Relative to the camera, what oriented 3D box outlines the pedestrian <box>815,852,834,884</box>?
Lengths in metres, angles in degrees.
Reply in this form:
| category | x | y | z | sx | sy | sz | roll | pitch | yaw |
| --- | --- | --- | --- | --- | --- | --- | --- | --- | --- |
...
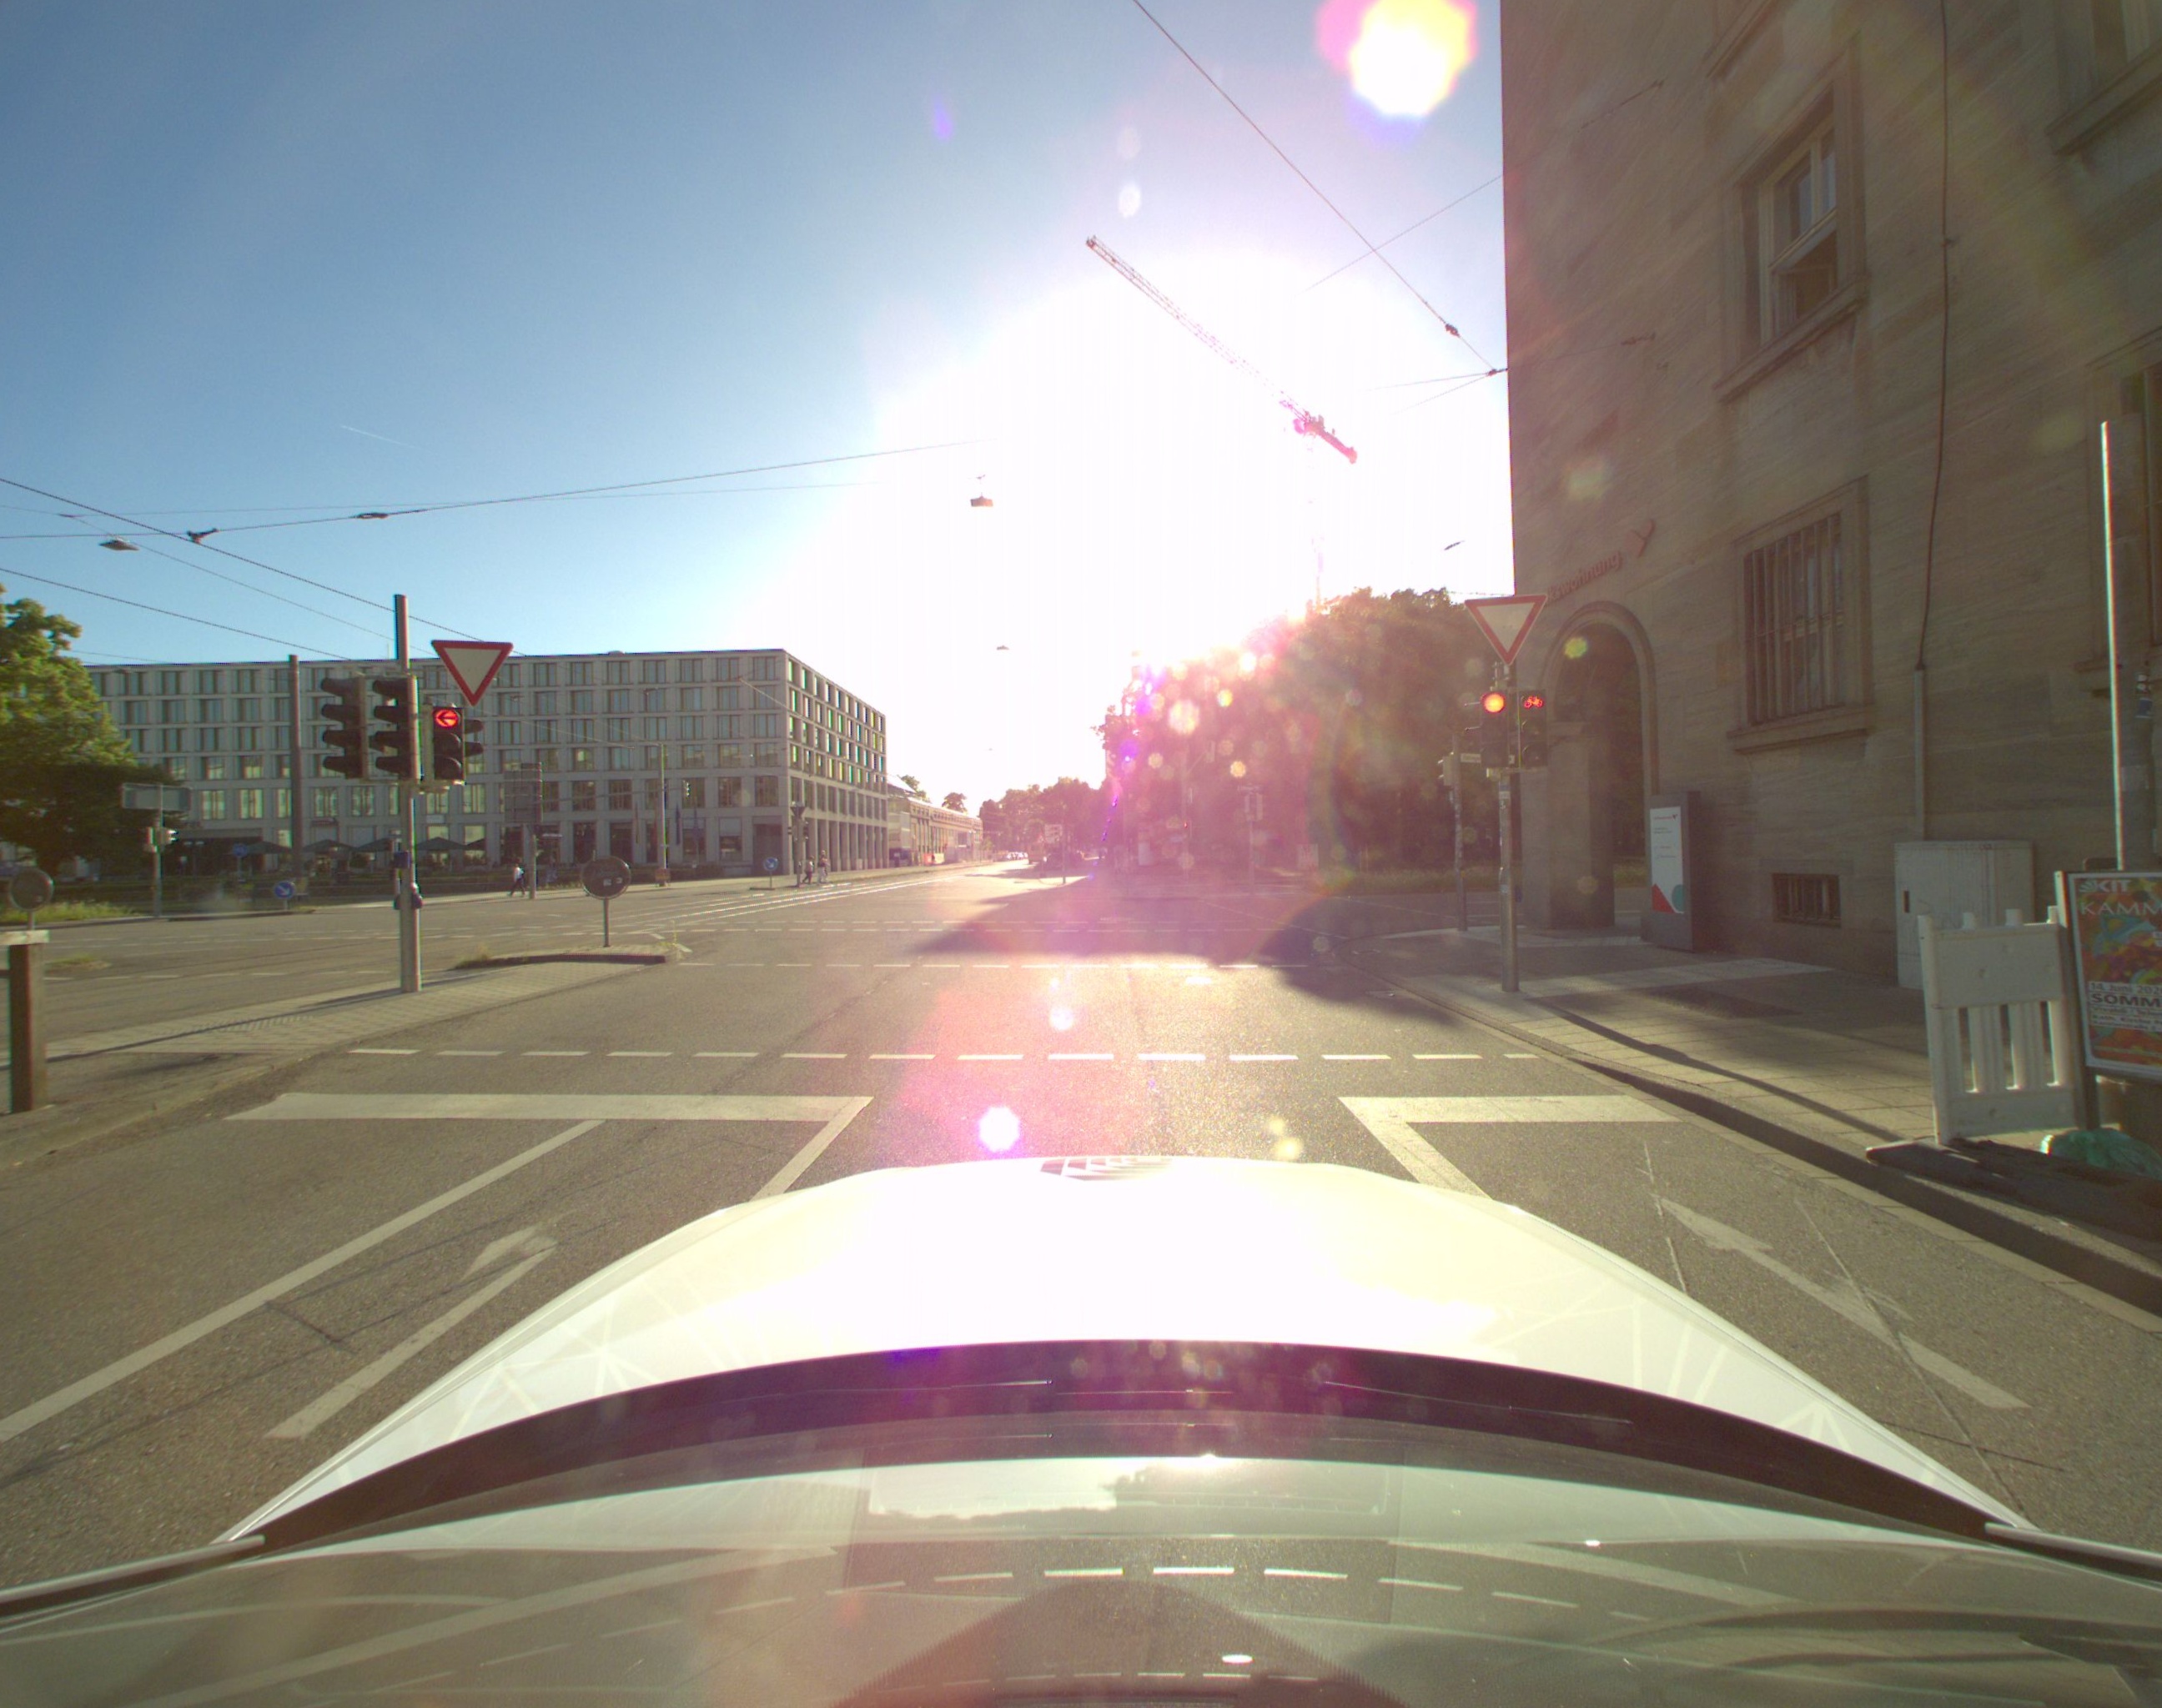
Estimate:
| category | x | y | z | sx | sy | sz | roll | pitch | yaw |
| --- | --- | --- | --- | --- | --- | --- | --- | --- | --- |
| pedestrian | -13.680 | 0.750 | 43.385 | 0.790 | 1.644 | 0.621 | -2 | 0 | -3 |

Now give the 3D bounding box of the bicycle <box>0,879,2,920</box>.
| category | x | y | z | sx | sy | sz | roll | pitch | yaw |
| --- | --- | --- | --- | --- | --- | --- | --- | --- | --- |
| bicycle | -47.028 | 1.962 | 34.357 | 1.897 | 1.735 | 0.595 | -2 | 0 | -11 |

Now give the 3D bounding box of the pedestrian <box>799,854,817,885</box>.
| category | x | y | z | sx | sy | sz | roll | pitch | yaw |
| --- | --- | --- | --- | --- | --- | --- | --- | --- | --- |
| pedestrian | -14.939 | 0.833 | 44.522 | 0.691 | 1.644 | 0.622 | -2 | 0 | 2 |

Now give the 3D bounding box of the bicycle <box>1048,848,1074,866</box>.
| category | x | y | z | sx | sy | sz | roll | pitch | yaw |
| --- | --- | --- | --- | --- | --- | --- | --- | --- | --- |
| bicycle | -2.007 | 0.301 | 81.667 | 2.538 | 1.744 | 1.038 | 0 | -1 | 1 |

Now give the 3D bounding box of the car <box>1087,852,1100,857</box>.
| category | x | y | z | sx | sy | sz | roll | pitch | yaw |
| --- | --- | --- | --- | --- | --- | --- | --- | --- | --- |
| car | 3.261 | 0.066 | 211.377 | 3.207 | 1.263 | 1.373 | 0 | -1 | 0 |

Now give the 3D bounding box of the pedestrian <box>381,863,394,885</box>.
| category | x | y | z | sx | sy | sz | roll | pitch | yaw |
| --- | --- | --- | --- | --- | --- | --- | --- | --- | --- |
| pedestrian | -51.793 | 1.492 | 60.824 | 0.538 | 1.669 | 0.561 | 0 | -1 | -2 |

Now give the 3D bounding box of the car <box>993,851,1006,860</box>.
| category | x | y | z | sx | sy | sz | roll | pitch | yaw |
| --- | --- | --- | --- | --- | --- | --- | --- | --- | --- |
| car | -15.682 | 0.278 | 156.927 | 1.888 | 1.607 | 4.499 | -2 | 0 | 0 |

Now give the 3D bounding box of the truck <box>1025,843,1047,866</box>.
| category | x | y | z | sx | sy | sz | roll | pitch | yaw |
| --- | --- | --- | --- | --- | --- | --- | --- | --- | --- |
| truck | -6.203 | 0.054 | 113.321 | 2.709 | 3.016 | 6.486 | -1 | 0 | -1 |

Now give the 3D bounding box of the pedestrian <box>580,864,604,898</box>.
| category | x | y | z | sx | sy | sz | roll | pitch | yaw |
| --- | --- | --- | --- | --- | --- | --- | --- | --- | --- |
| pedestrian | -26.723 | 1.474 | 44.512 | 0.865 | 1.803 | 0.665 | -2 | 0 | 7 |

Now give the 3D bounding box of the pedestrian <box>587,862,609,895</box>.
| category | x | y | z | sx | sy | sz | roll | pitch | yaw |
| --- | --- | --- | --- | --- | --- | --- | --- | --- | --- |
| pedestrian | -27.190 | 1.380 | 45.846 | 0.735 | 1.803 | 0.717 | -2 | 0 | 7 |

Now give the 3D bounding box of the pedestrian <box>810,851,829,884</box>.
| category | x | y | z | sx | sy | sz | roll | pitch | yaw |
| --- | --- | --- | --- | --- | --- | --- | --- | --- | --- |
| pedestrian | -14.548 | 0.745 | 45.328 | 0.744 | 1.761 | 0.679 | -2 | -1 | 6 |

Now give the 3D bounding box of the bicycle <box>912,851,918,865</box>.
| category | x | y | z | sx | sy | sz | roll | pitch | yaw |
| --- | --- | --- | --- | --- | --- | --- | --- | --- | --- |
| bicycle | -26.696 | 0.633 | 131.088 | 0.569 | 2.296 | 1.422 | -2 | 0 | 0 |

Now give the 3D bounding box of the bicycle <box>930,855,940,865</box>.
| category | x | y | z | sx | sy | sz | roll | pitch | yaw |
| --- | --- | --- | --- | --- | --- | --- | --- | --- | --- |
| bicycle | -20.576 | 0.849 | 114.699 | 0.687 | 1.511 | 2.945 | 0 | -1 | 2 |

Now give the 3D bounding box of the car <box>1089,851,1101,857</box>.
| category | x | y | z | sx | sy | sz | roll | pitch | yaw |
| --- | --- | --- | --- | --- | --- | --- | --- | --- | --- |
| car | 3.680 | -0.079 | 213.635 | 3.207 | 1.588 | 1.445 | 0 | -1 | -3 |

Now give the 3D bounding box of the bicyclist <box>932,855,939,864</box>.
| category | x | y | z | sx | sy | sz | roll | pitch | yaw |
| --- | --- | --- | --- | --- | --- | --- | --- | --- | --- |
| bicyclist | -20.526 | 0.754 | 114.769 | 0.687 | 1.328 | 1.000 | 0 | -1 | 2 |

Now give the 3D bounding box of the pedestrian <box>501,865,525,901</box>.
| category | x | y | z | sx | sy | sz | roll | pitch | yaw |
| --- | --- | --- | --- | --- | --- | --- | --- | --- | --- |
| pedestrian | -30.893 | 1.549 | 44.275 | 0.797 | 1.918 | 0.638 | -2 | 0 | 7 |

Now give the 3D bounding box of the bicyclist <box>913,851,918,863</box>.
| category | x | y | z | sx | sy | sz | roll | pitch | yaw |
| --- | --- | --- | --- | --- | --- | --- | --- | --- | --- |
| bicyclist | -26.695 | 0.498 | 131.081 | 0.569 | 2.024 | 0.762 | -2 | 0 | 0 |

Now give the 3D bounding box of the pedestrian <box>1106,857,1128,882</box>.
| category | x | y | z | sx | sy | sz | roll | pitch | yaw |
| --- | --- | --- | --- | --- | --- | --- | --- | --- | --- |
| pedestrian | 1.946 | 0.837 | 43.678 | 0.757 | 1.317 | 1.003 | -2 | 0 | 30 |

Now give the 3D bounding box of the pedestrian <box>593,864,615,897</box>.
| category | x | y | z | sx | sy | sz | roll | pitch | yaw |
| --- | --- | --- | --- | --- | --- | --- | --- | --- | --- |
| pedestrian | -26.463 | 1.480 | 45.172 | 0.865 | 1.803 | 0.533 | -2 | 0 | 7 |
